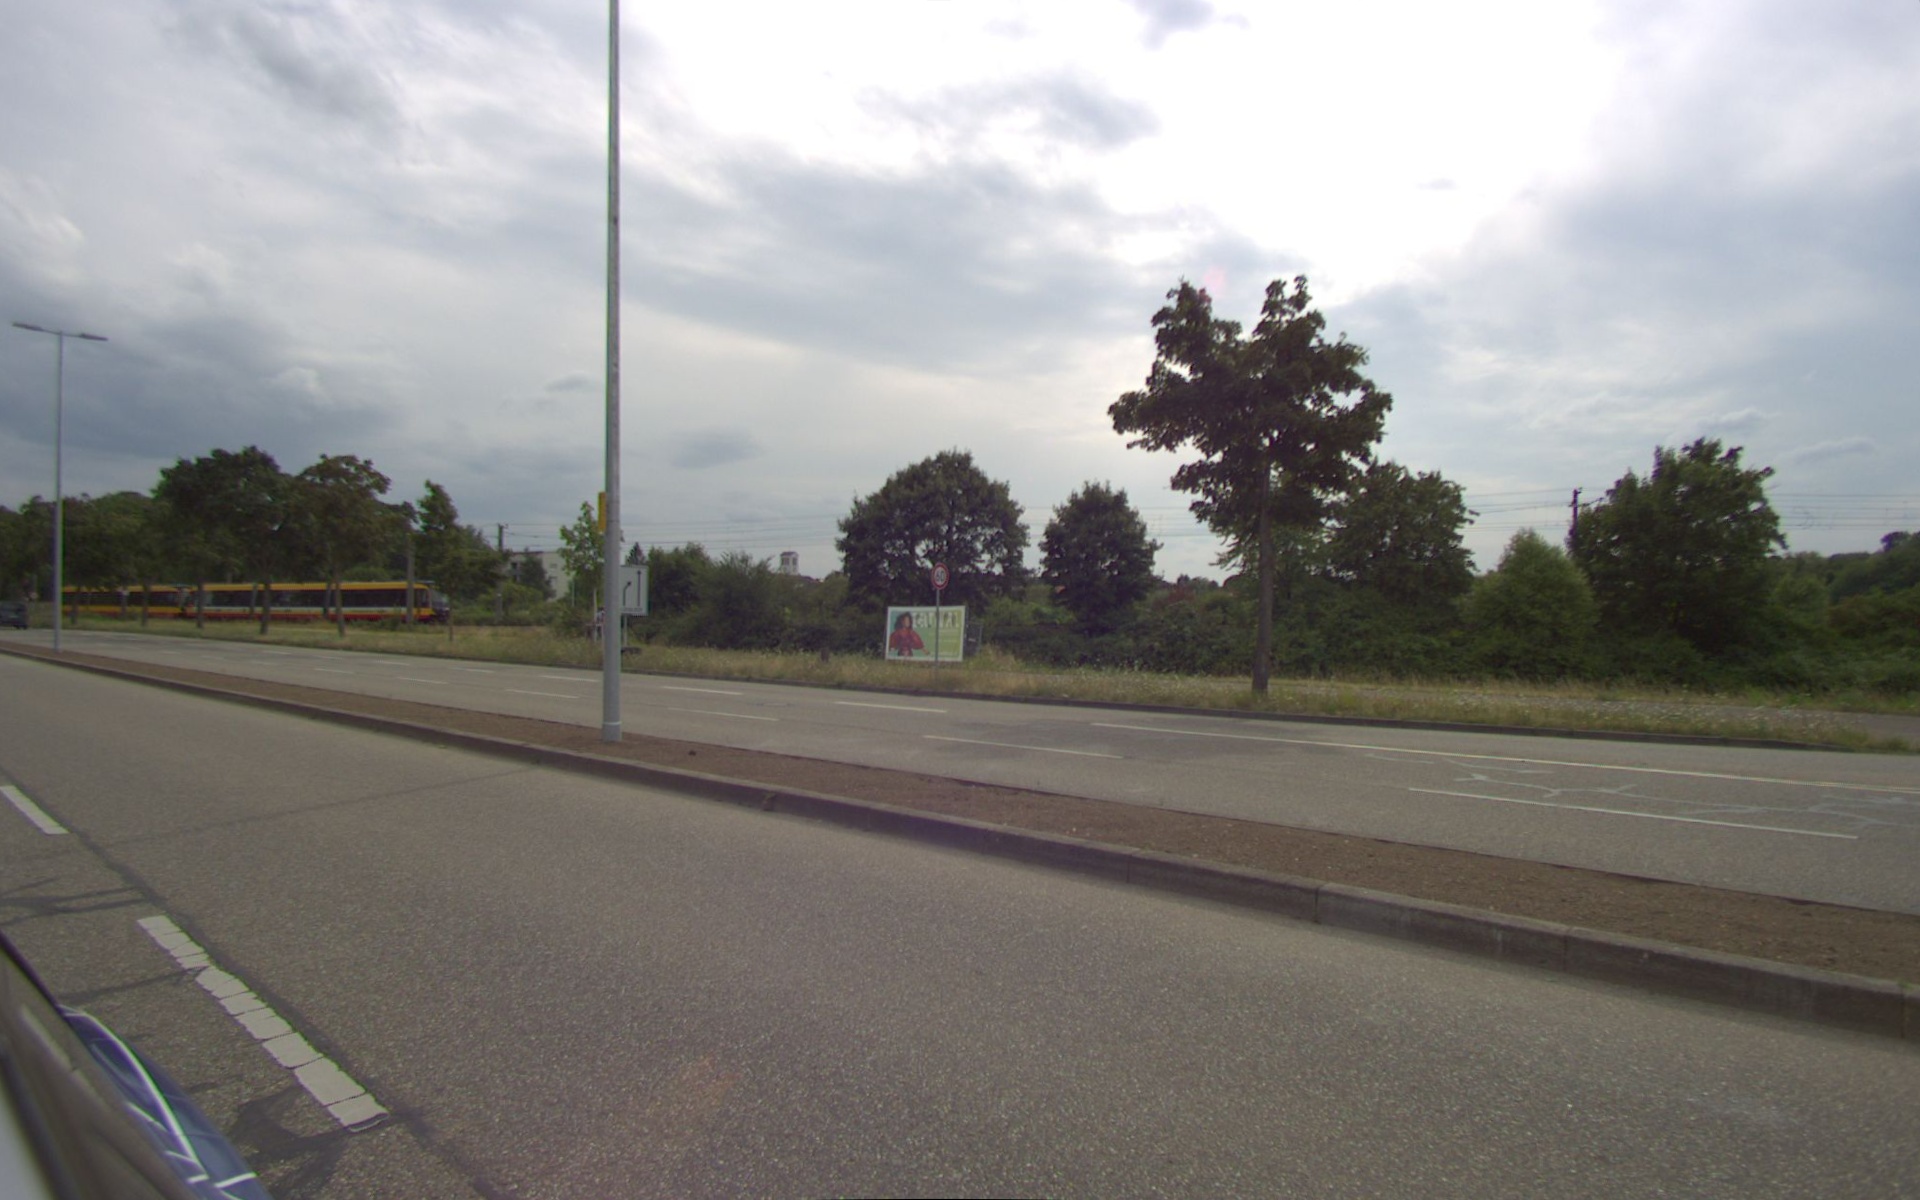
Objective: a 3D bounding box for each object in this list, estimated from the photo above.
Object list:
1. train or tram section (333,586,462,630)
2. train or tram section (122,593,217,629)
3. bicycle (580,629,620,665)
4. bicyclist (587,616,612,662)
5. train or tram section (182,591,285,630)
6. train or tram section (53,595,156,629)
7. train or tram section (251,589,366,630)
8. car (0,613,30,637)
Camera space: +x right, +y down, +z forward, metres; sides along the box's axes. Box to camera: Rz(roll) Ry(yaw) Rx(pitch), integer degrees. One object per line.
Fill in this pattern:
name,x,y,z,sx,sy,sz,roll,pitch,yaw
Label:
train or tram section,-46.712,0.695,83.877,11.877,3.447,2.898,-1,0,25
train or tram section,-78.408,1.109,100.280,11.893,3.447,2.894,-1,0,29
bicycle,-14.747,1.923,41.424,2.166,1.433,0.530,-1,-3,42
bicyclist,-14.750,1.596,41.435,0.818,1.846,0.637,-1,-3,41
train or tram section,-67.971,0.973,94.578,11.893,3.447,2.894,-1,0,29
train or tram section,-90.466,1.266,106.904,15.586,3.447,2.894,-1,0,29
train or tram section,-57.421,0.835,89.065,11.884,3.447,2.897,-1,0,27
car,-69.496,1.818,73.734,4.253,1.666,1.830,-1,-2,37
